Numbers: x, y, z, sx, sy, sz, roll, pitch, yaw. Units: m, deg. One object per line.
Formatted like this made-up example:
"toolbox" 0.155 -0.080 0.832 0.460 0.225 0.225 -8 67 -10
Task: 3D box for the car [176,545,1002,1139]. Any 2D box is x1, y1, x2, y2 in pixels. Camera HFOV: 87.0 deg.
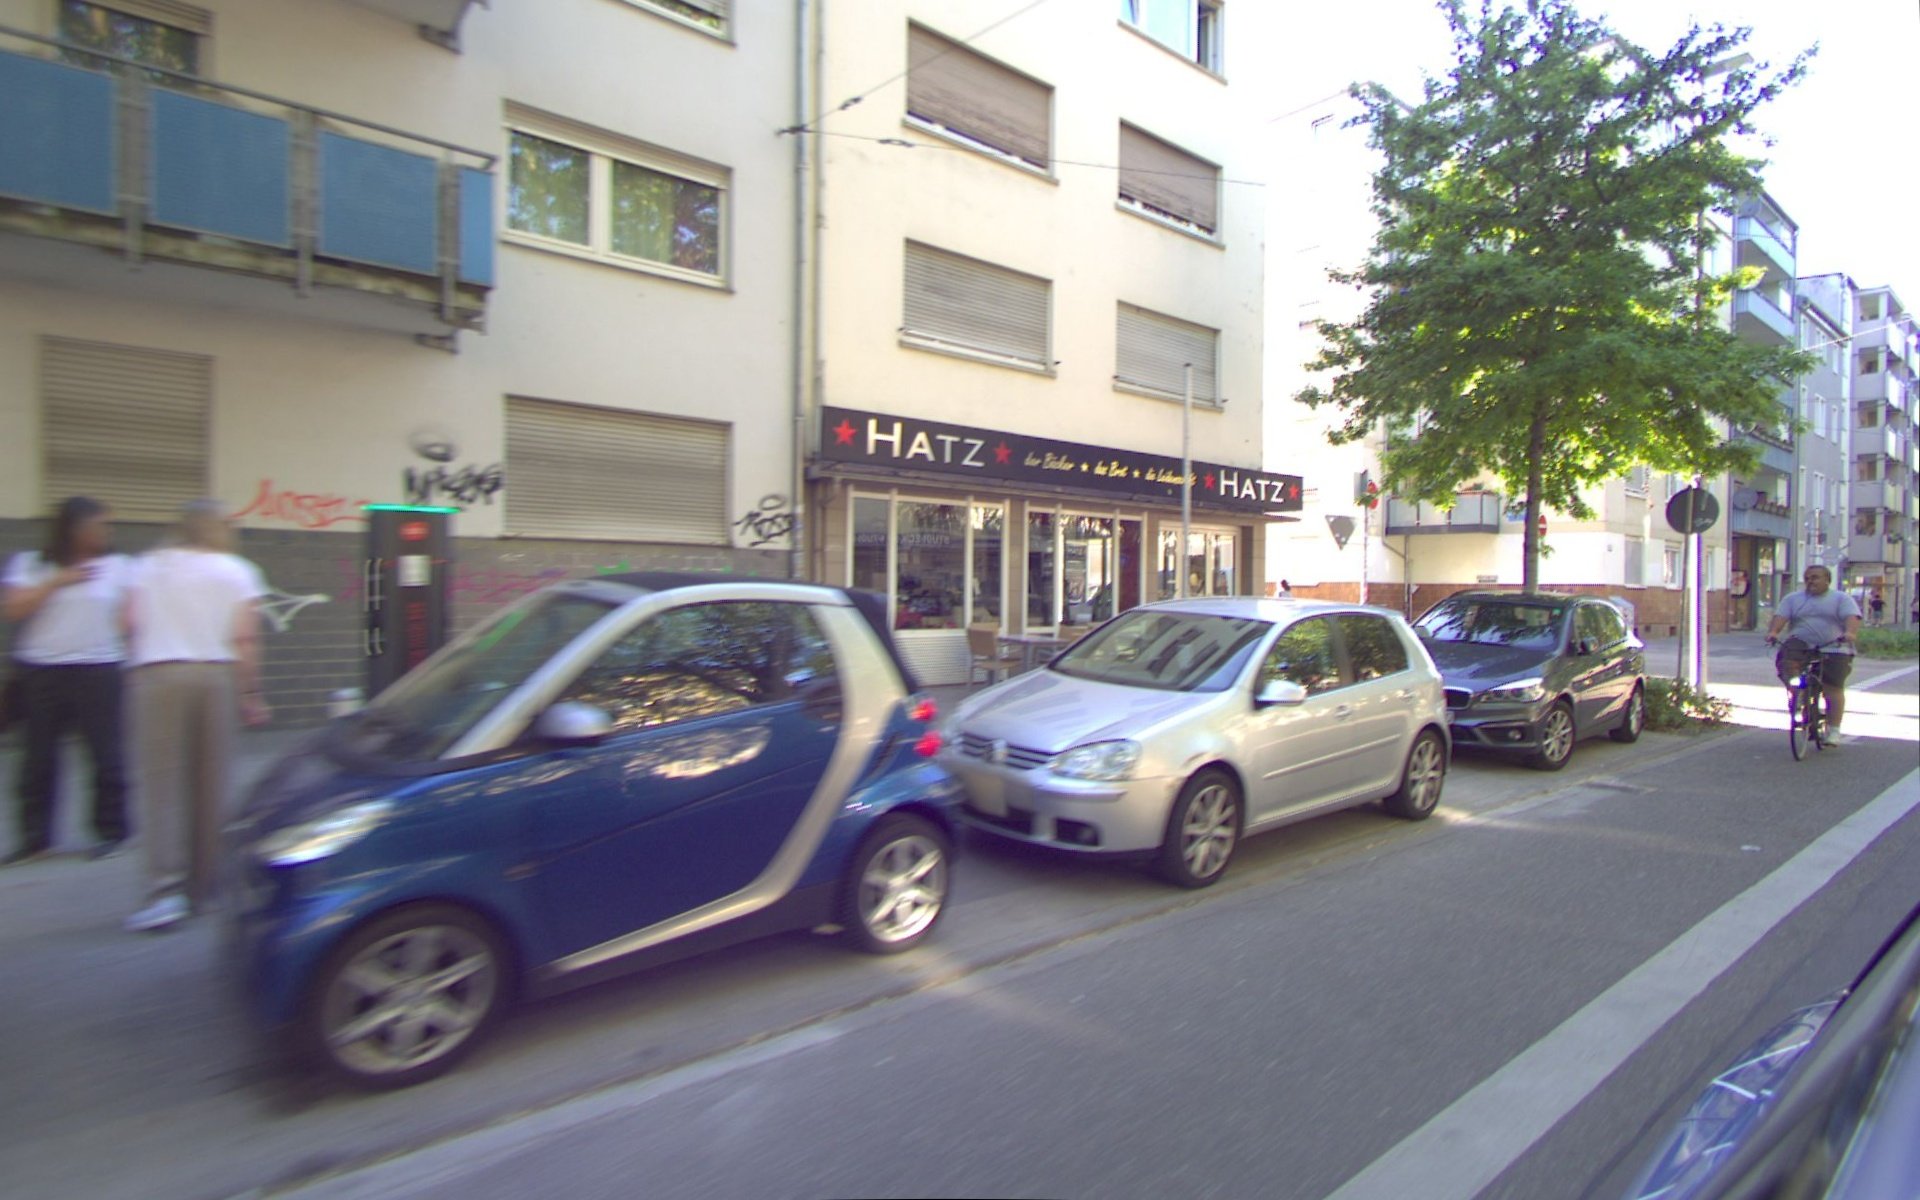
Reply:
"car" -1.371 0.612 4.132 2.830 1.556 1.447 0 2 -41

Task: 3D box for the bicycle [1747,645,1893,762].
"bicycle" 8.550 0.975 10.035 1.905 0.949 0.790 -1 0 -40

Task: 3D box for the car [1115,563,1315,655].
"car" 5.473 0.163 22.120 1.754 1.820 3.996 0 0 -39

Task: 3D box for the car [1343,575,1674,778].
"car" 5.741 0.591 10.351 4.189 1.590 1.722 -1 4 -44

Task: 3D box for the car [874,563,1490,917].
"car" 1.631 0.614 6.575 4.055 1.556 1.790 0 3 -41

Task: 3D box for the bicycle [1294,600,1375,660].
"bicycle" 8.181 0.627 22.205 0.471 1.222 2.078 0 0 -19

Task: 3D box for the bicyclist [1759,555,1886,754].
"bicyclist" 8.589 0.501 10.080 1.079 1.854 0.768 0 -1 -40

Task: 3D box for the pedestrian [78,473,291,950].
"pedestrian" -3.340 0.427 4.365 0.476 1.874 0.653 4 3 43

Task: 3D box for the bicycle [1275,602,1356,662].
"bicycle" 7.710 0.670 22.054 0.471 1.222 2.078 0 0 -19

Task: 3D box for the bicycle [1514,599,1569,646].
"bicycle" 15.308 0.564 26.614 1.960 1.166 0.615 -1 1 -40

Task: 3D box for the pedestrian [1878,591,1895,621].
"pedestrian" 48.183 0.295 52.633 0.589 1.521 0.590 0 0 -40

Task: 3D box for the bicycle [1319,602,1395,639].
"bicycle" 11.800 0.589 30.122 0.596 1.004 2.111 0 2 -36

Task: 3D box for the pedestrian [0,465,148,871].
"pedestrian" -4.470 0.310 5.018 0.653 1.875 0.538 0 0 -43
